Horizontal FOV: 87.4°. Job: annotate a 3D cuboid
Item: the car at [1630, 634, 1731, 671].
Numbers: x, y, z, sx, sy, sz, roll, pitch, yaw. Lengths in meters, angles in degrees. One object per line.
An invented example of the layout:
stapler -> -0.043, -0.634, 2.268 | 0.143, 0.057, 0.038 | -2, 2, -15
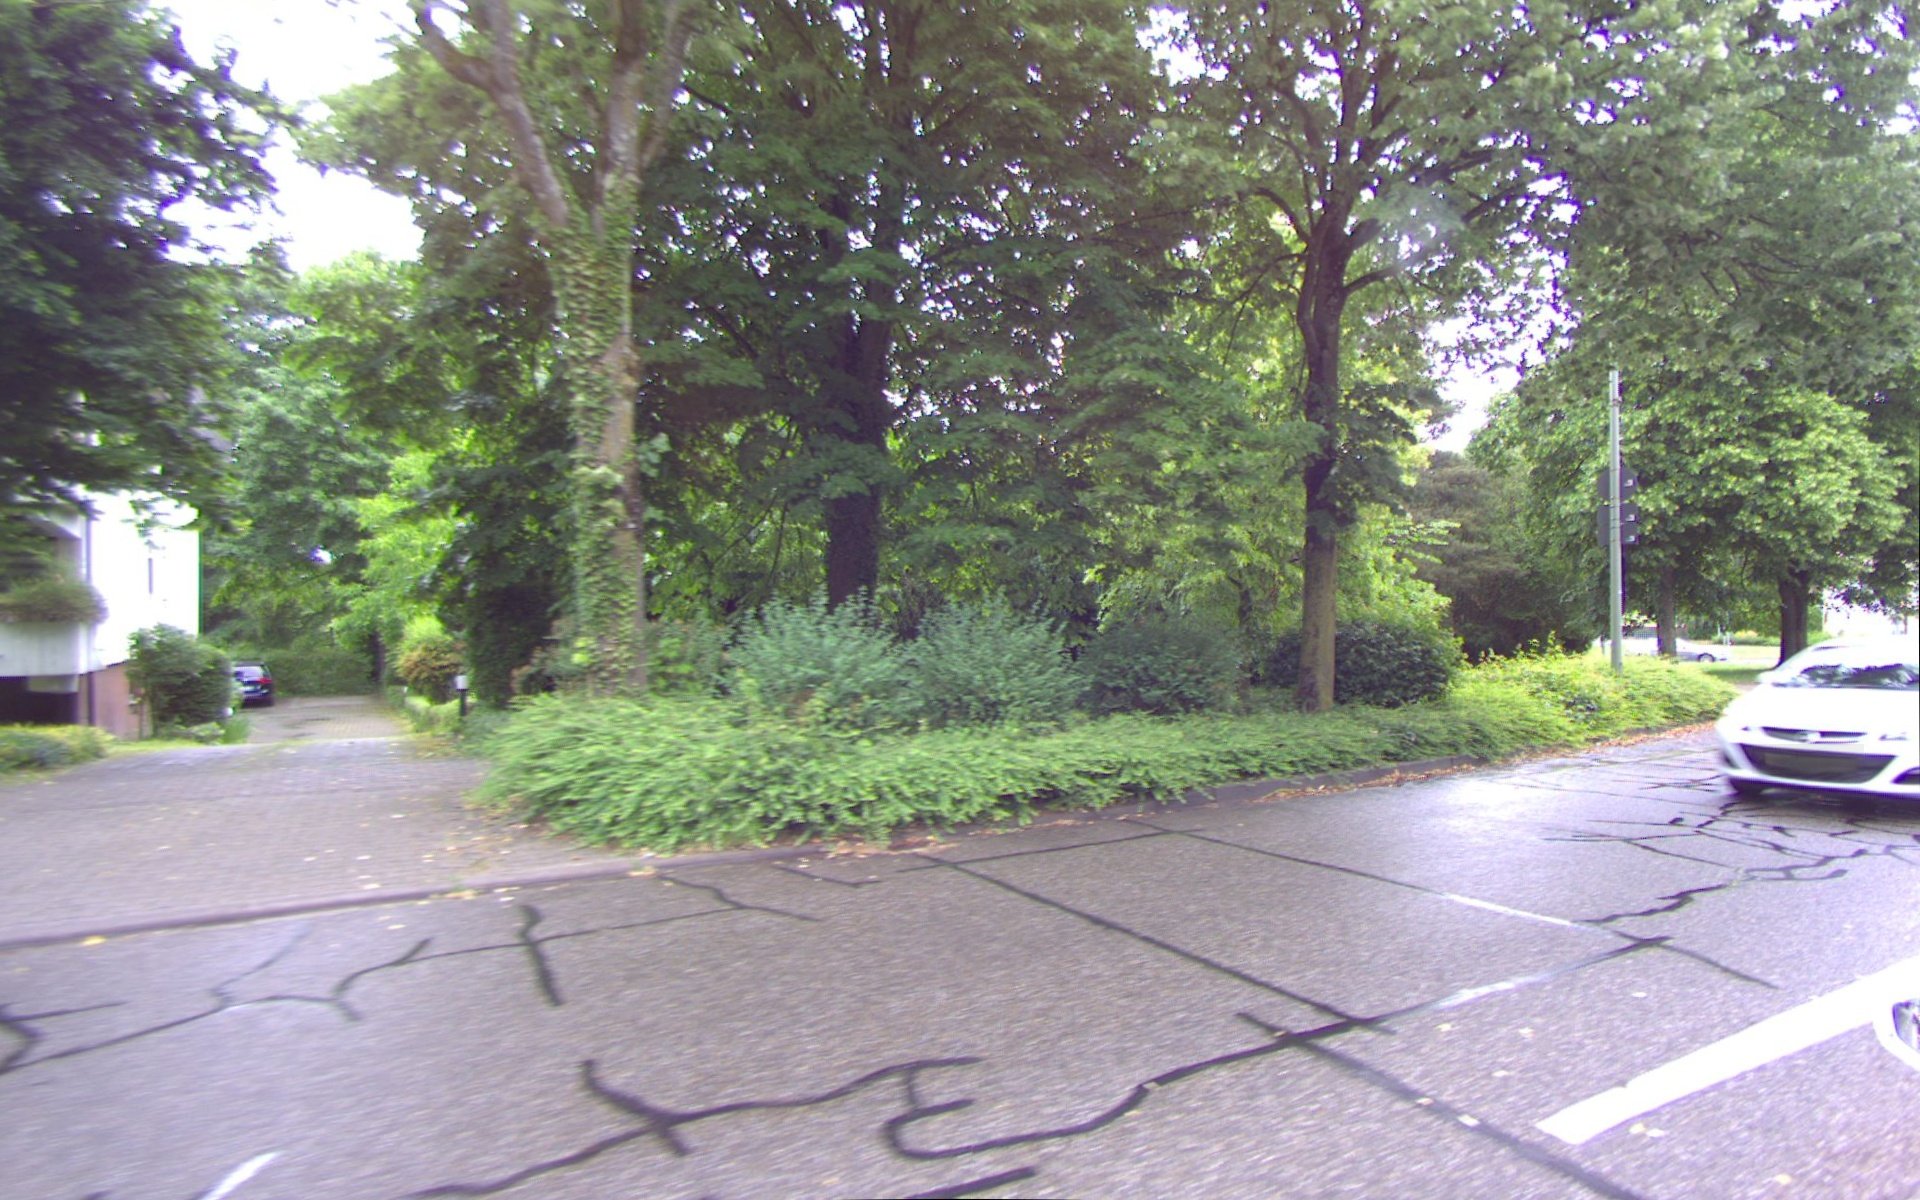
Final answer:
car -> 37.885, 2.728, 52.850 | 1.985, 1.706, 3.983 | 1, 1, -42

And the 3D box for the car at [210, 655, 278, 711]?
car -> -27.024, 3.083, 37.859 | 1.810, 1.740, 3.954 | 2, 0, -39

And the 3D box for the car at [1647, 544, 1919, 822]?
car -> 8.586, 0.692, 9.246 | 4.520, 2.040, 1.984 | 1, -3, -30
